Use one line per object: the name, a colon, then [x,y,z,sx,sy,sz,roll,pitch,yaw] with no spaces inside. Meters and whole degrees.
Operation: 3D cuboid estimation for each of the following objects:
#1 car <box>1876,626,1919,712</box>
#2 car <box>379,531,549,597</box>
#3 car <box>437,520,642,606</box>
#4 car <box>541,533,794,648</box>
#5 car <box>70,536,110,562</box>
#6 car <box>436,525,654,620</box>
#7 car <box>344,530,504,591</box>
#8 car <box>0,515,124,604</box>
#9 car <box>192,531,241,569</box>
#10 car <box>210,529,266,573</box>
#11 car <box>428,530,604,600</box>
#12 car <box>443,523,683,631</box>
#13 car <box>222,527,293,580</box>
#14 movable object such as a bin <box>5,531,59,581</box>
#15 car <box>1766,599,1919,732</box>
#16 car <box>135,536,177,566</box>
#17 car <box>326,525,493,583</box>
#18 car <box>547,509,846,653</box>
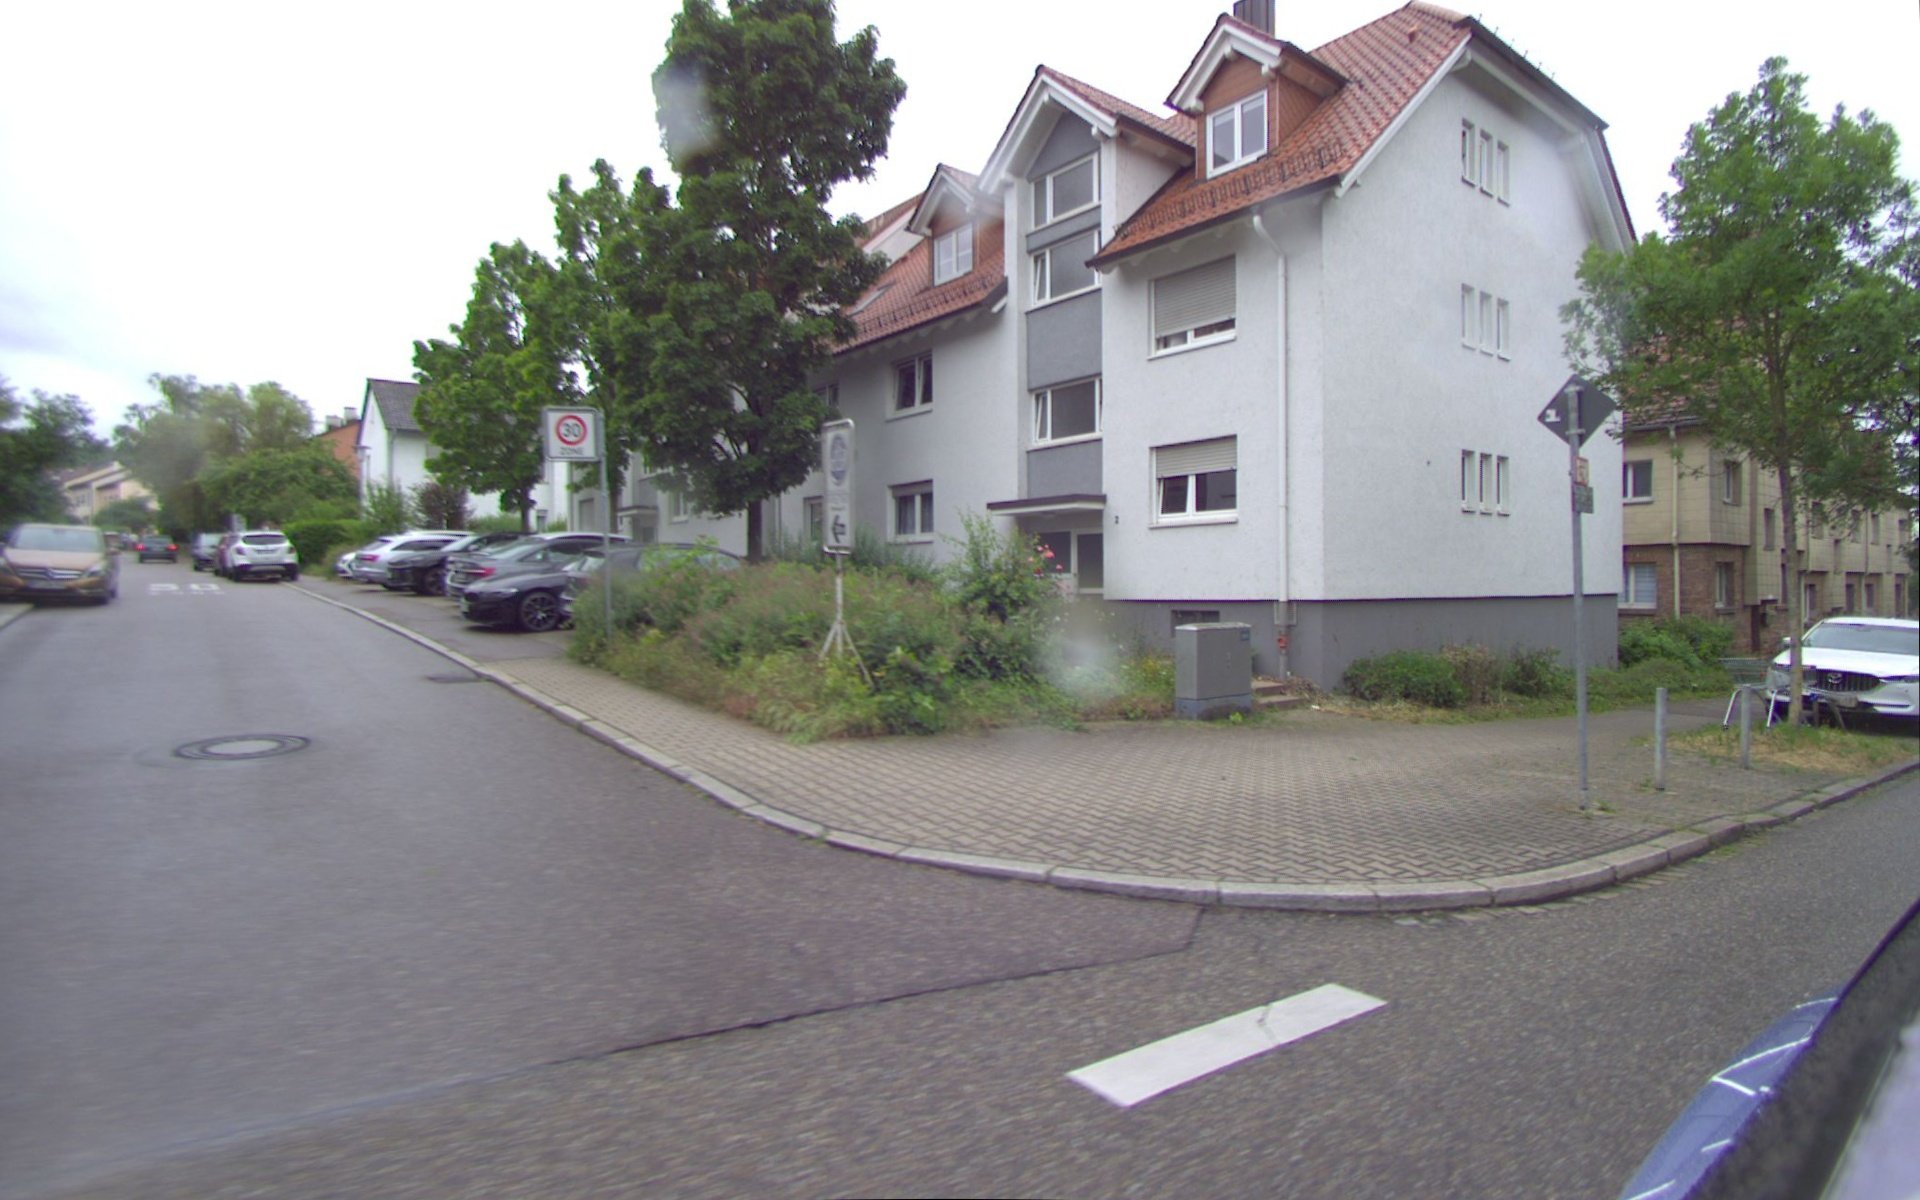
car: [18.285,1.256,18.581,3.926,1.467,1.645,2,-1,-40]
car: [-12.340,-0.944,25.272,3.536,1.528,1.599,-3,5,-39]
car: [-9.157,-0.805,22.197,3.832,1.704,1.649,-1,4,-41]
car: [-4.641,-0.193,16.230,3.534,1.602,1.650,-1,4,-37]
car: [-54.503,-3.215,63.471,1.570,1.528,3.601,-2,5,-36]
car: [-7.937,-0.583,19.479,3.606,1.653,1.650,-2,5,-37]
car: [-14.375,-1.095,27.223,3.538,1.528,1.598,-3,5,-41]
car: [-18.445,-0.864,20.805,1.733,1.583,3.623,4,1,-38]
car: [-31.761,-2.168,43.291,1.570,1.528,3.601,-2,5,-35]
car: [-26.595,-1.853,37.263,1.570,1.528,3.601,-2,5,-36]
car: [-10.489,-0.869,24.026,3.538,1.528,1.598,-2,5,-41]
car: [-6.766,-0.427,17.368,3.557,1.653,1.600,-1,4,-37]
car: [-23.227,-1.569,33.418,1.739,1.641,3.600,-2,5,-37]
movable object such as a bin: [-27.918,-1.292,30.468,1.038,1.366,1.132,4,-4,-39]
car: [14.376,0.973,15.740,4.456,1.795,1.829,3,-1,-37]
car: [-43.189,-2.643,54.424,1.570,1.528,3.601,-2,5,-36]
car: [-17.314,-1.490,31.944,4.367,1.708,1.713,-3,5,-40]
car: [-3.631,-0.221,14.186,3.605,1.705,1.686,4,1,-37]
